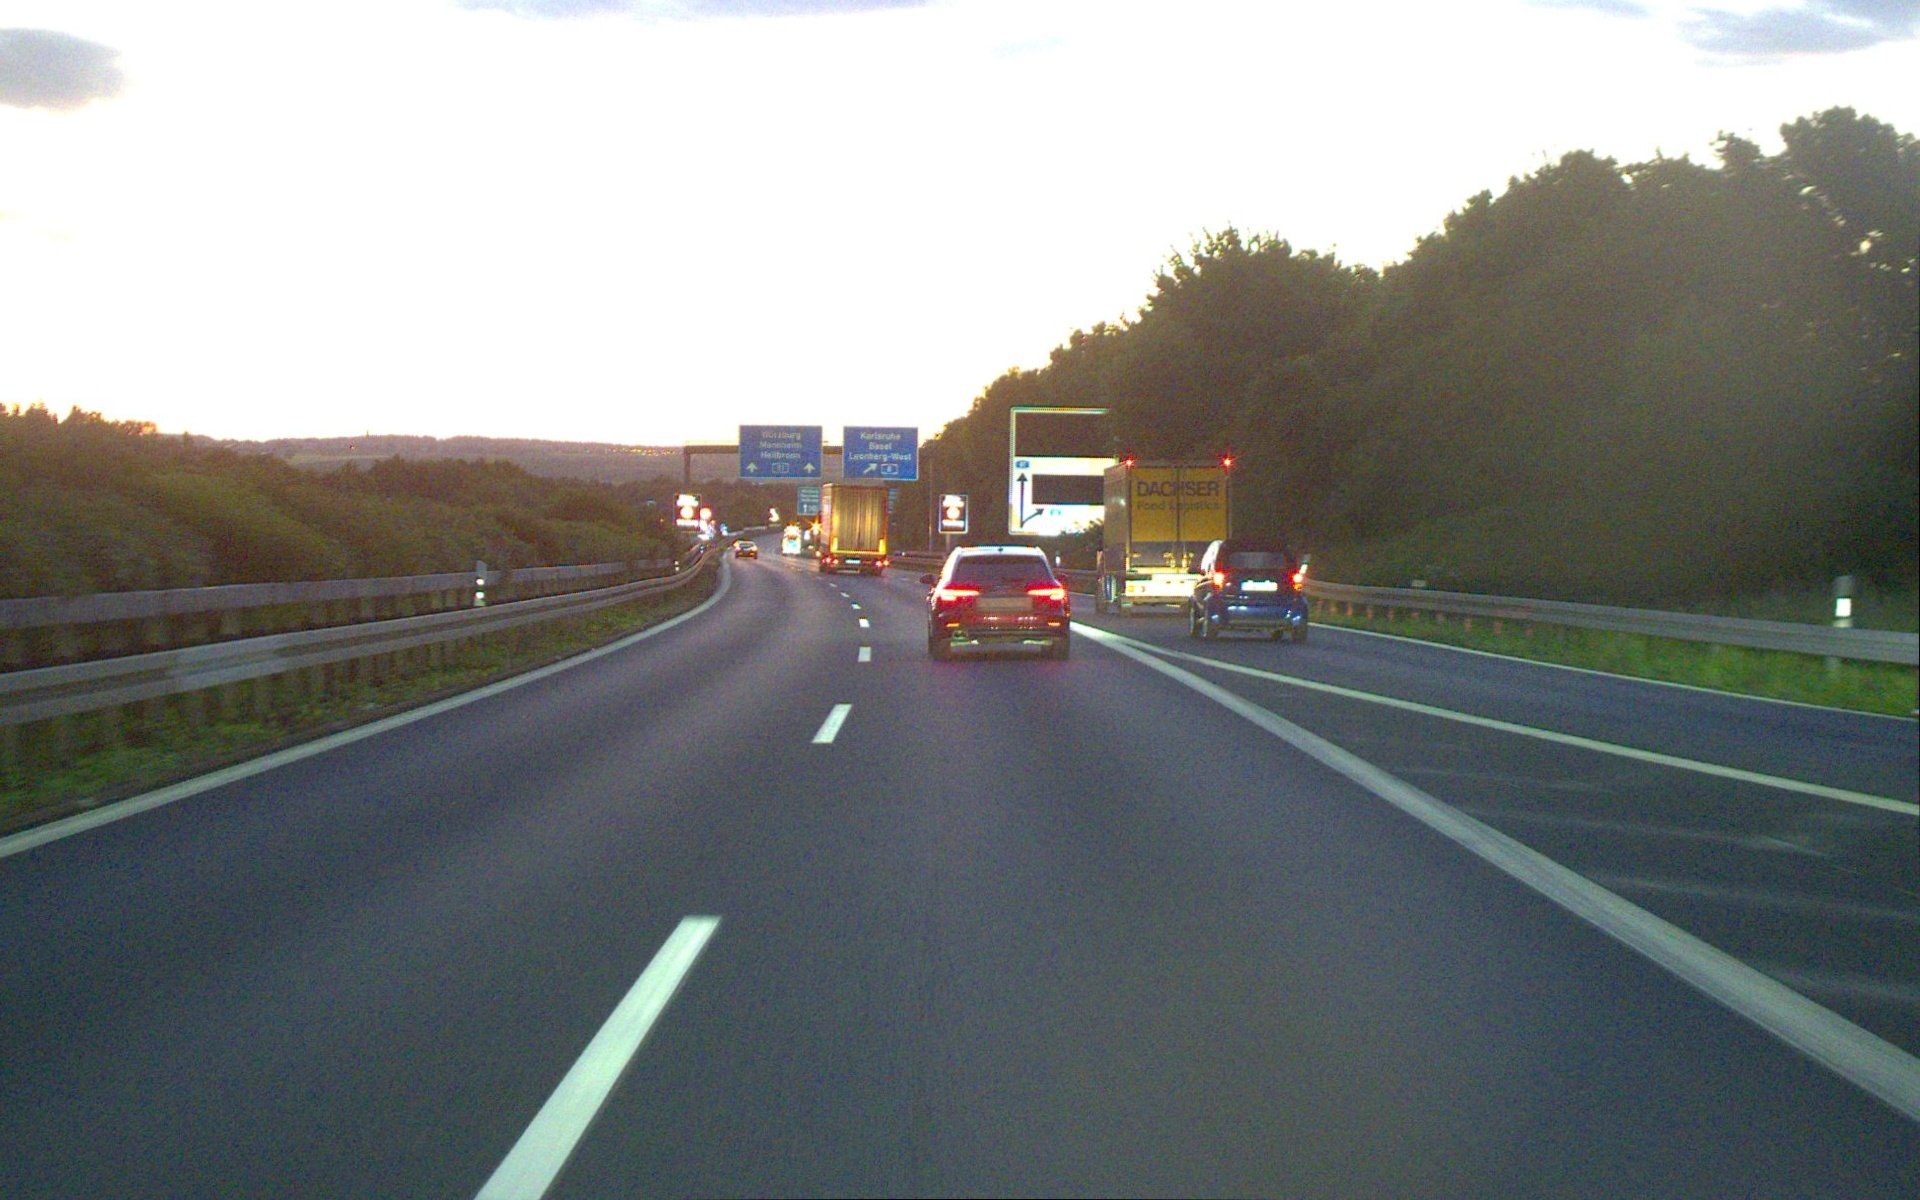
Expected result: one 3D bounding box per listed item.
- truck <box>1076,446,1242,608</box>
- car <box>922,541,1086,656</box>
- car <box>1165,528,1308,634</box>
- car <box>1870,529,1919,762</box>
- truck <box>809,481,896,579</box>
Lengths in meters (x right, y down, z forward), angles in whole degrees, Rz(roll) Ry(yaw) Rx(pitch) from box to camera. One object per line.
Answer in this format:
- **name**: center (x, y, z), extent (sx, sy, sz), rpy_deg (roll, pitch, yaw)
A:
- **truck**: center (3.889, -1.442, 68.539), extent (2.268, 2.961, 6.633), rpy_deg (3, 1, -4)
- **car**: center (0.538, -0.041, 45.375), extent (1.915, 1.437, 4.000), rpy_deg (1, 1, -3)
- **car**: center (4.175, -0.296, 52.316), extent (1.610, 1.550, 3.319), rpy_deg (1, 0, -5)
- **car**: center (7.792, 0.368, 22.662), extent (1.797, 1.639, 5.161), rpy_deg (2, 1, -5)
- **truck**: center (-4.946, -3.138, 156.626), extent (3.509, 4.286, 9.893), rpy_deg (1, 0, -4)
